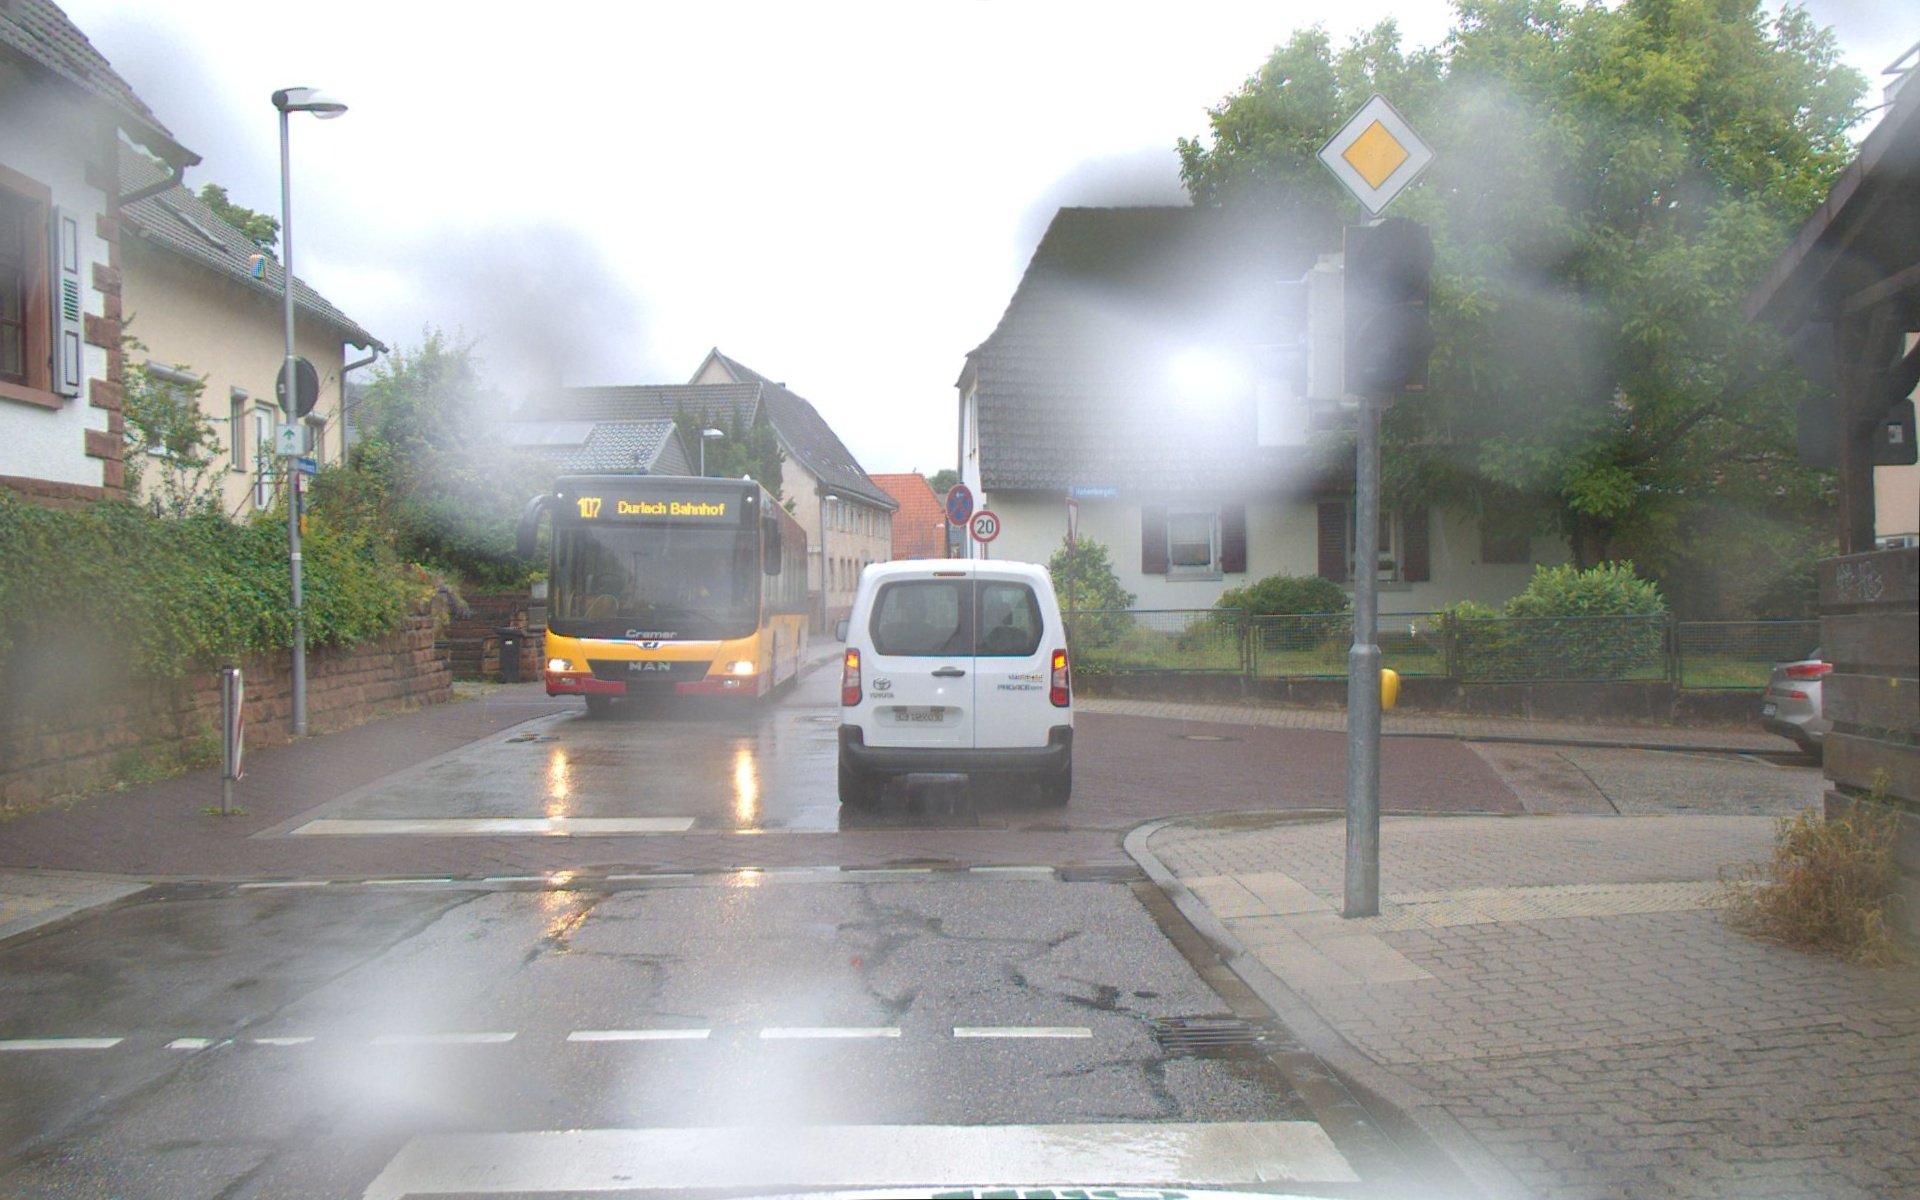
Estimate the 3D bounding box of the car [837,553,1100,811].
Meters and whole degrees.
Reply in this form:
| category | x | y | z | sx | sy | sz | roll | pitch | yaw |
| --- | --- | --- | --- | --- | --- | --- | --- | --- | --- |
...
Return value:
| category | x | y | z | sx | sy | sz | roll | pitch | yaw |
| --- | --- | --- | --- | --- | --- | --- | --- | --- | --- |
| car | -0.007 | 0.580 | 13.646 | 1.856 | 1.825 | 3.812 | 0 | 0 | -2 |

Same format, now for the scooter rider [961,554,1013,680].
| category | x | y | z | sx | sy | sz | roll | pitch | yaw |
| --- | --- | --- | --- | --- | --- | --- | --- | --- | --- |
| scooter rider | 0.388 | 0.233 | 23.642 | 0.716 | 1.763 | 0.518 | -1 | 1 | 0 |

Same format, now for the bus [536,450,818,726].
| category | x | y | z | sx | sy | sz | roll | pitch | yaw |
| --- | --- | --- | --- | --- | --- | --- | --- | --- | --- |
| bus | -3.659 | -0.304 | 24.488 | 2.596 | 3.052 | 12.188 | 0 | 2 | -3 |

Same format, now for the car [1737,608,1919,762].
| category | x | y | z | sx | sy | sz | roll | pitch | yaw |
| --- | --- | --- | --- | --- | --- | --- | --- | --- | --- |
| car | 10.325 | 0.882 | 17.026 | 3.902 | 1.492 | 1.785 | 1 | -1 | 13 |
